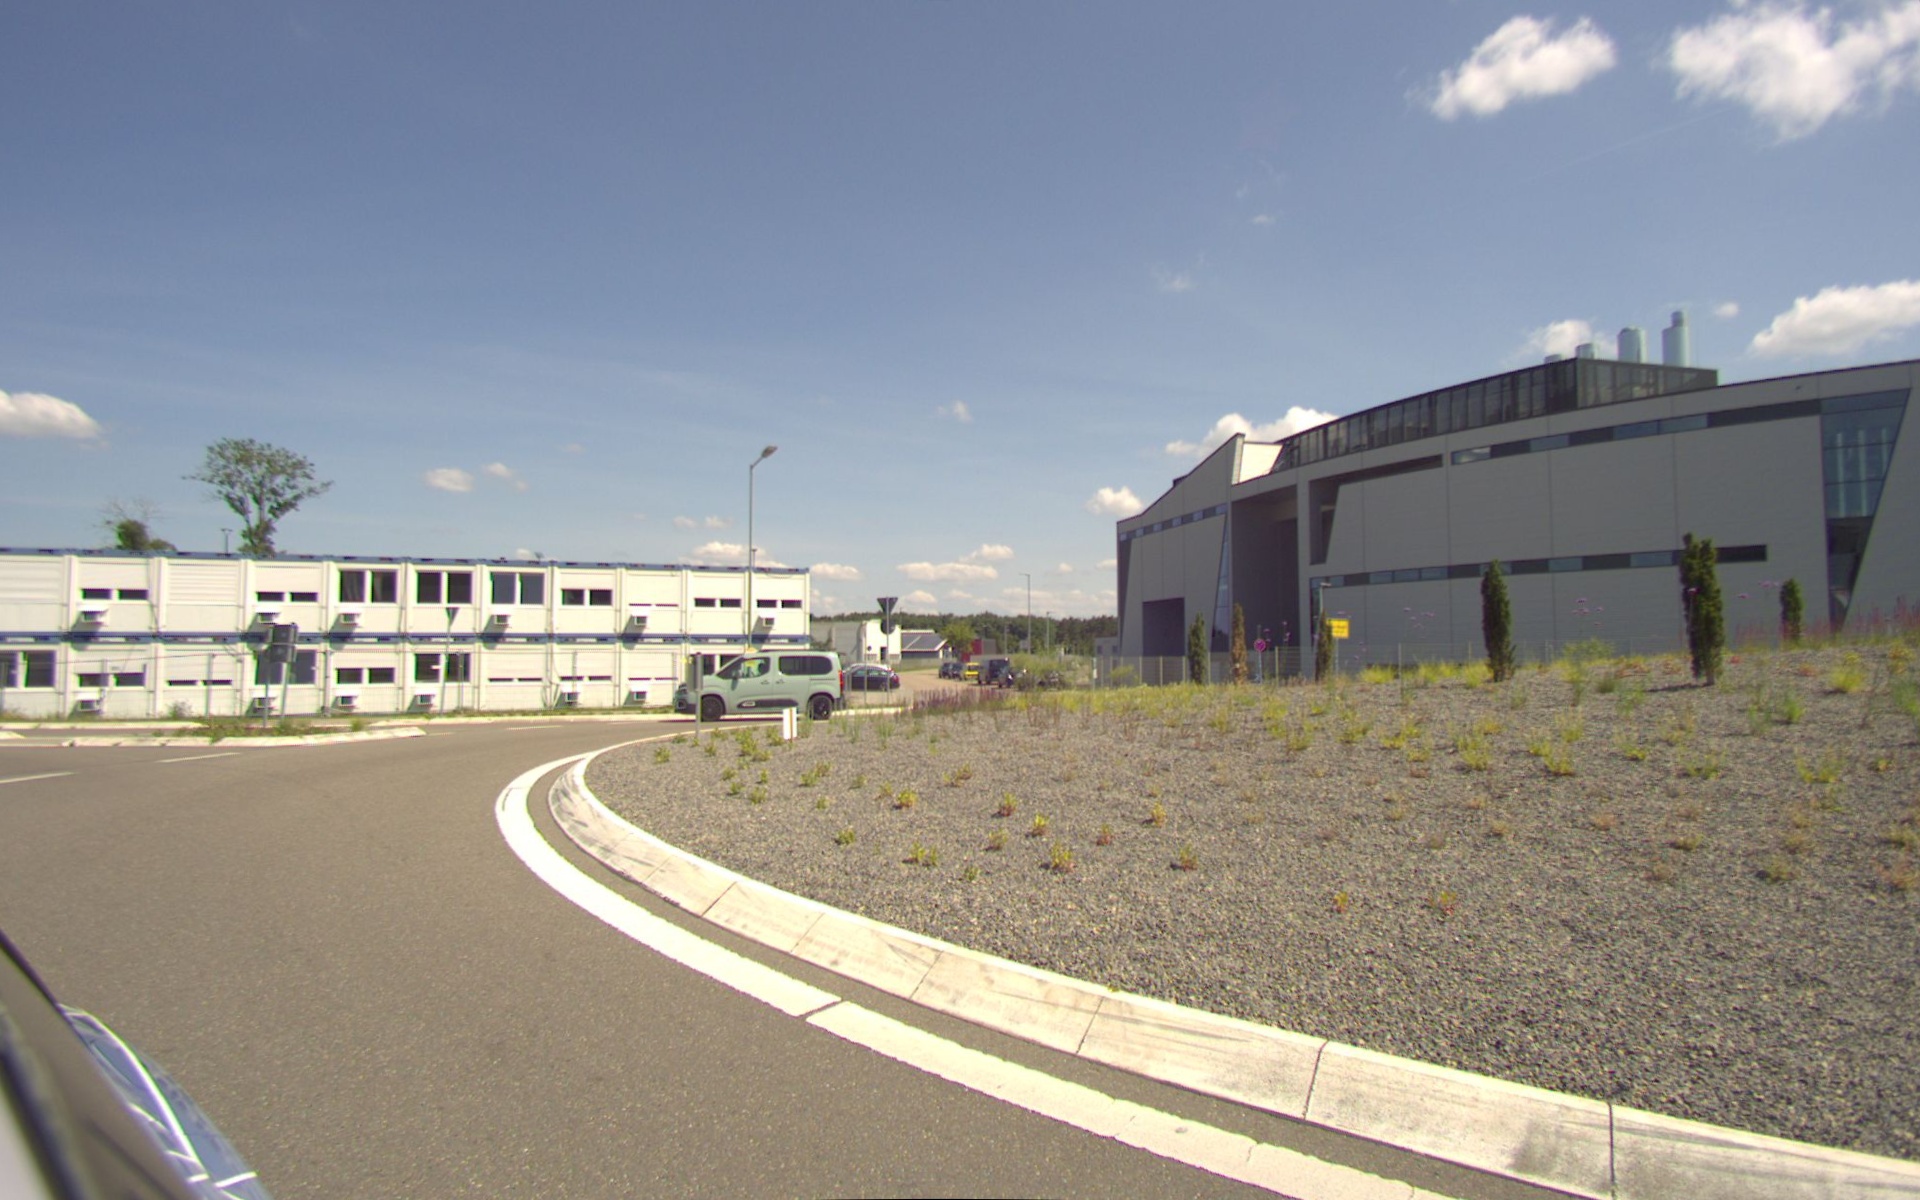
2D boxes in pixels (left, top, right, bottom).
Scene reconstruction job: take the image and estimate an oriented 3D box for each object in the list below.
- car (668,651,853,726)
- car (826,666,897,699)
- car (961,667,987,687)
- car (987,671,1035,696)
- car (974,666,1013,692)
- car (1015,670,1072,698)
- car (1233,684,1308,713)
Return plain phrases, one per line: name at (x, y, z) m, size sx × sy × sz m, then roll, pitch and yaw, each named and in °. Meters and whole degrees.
car at (-5.163, 2.240, 26.076) m, size 4.483 × 1.793 × 2.006 m, roll 1°, pitch -4°, yaw -17°
car at (-5.983, 5.005, 61.483) m, size 4.248 × 1.881 × 2.002 m, roll 0°, pitch -3°, yaw -5°
car at (1.177, 6.575, 86.578) m, size 1.971 × 1.561 × 4.316 m, roll 0°, pitch -3°, yaw -3°
car at (3.456, 5.724, 69.463) m, size 1.966 × 1.561 × 4.326 m, roll 1°, pitch -3°, yaw -17°
car at (2.475, 5.918, 76.280) m, size 1.967 × 1.845 × 4.324 m, roll 0°, pitch -3°, yaw -12°
car at (5.110, 5.179, 62.673) m, size 1.966 × 1.561 × 4.327 m, roll 1°, pitch -3°, yaw -18°
car at (20.038, 6.323, 65.361) m, size 4.240 × 1.703 × 2.006 m, roll 1°, pitch -3°, yaw -17°
